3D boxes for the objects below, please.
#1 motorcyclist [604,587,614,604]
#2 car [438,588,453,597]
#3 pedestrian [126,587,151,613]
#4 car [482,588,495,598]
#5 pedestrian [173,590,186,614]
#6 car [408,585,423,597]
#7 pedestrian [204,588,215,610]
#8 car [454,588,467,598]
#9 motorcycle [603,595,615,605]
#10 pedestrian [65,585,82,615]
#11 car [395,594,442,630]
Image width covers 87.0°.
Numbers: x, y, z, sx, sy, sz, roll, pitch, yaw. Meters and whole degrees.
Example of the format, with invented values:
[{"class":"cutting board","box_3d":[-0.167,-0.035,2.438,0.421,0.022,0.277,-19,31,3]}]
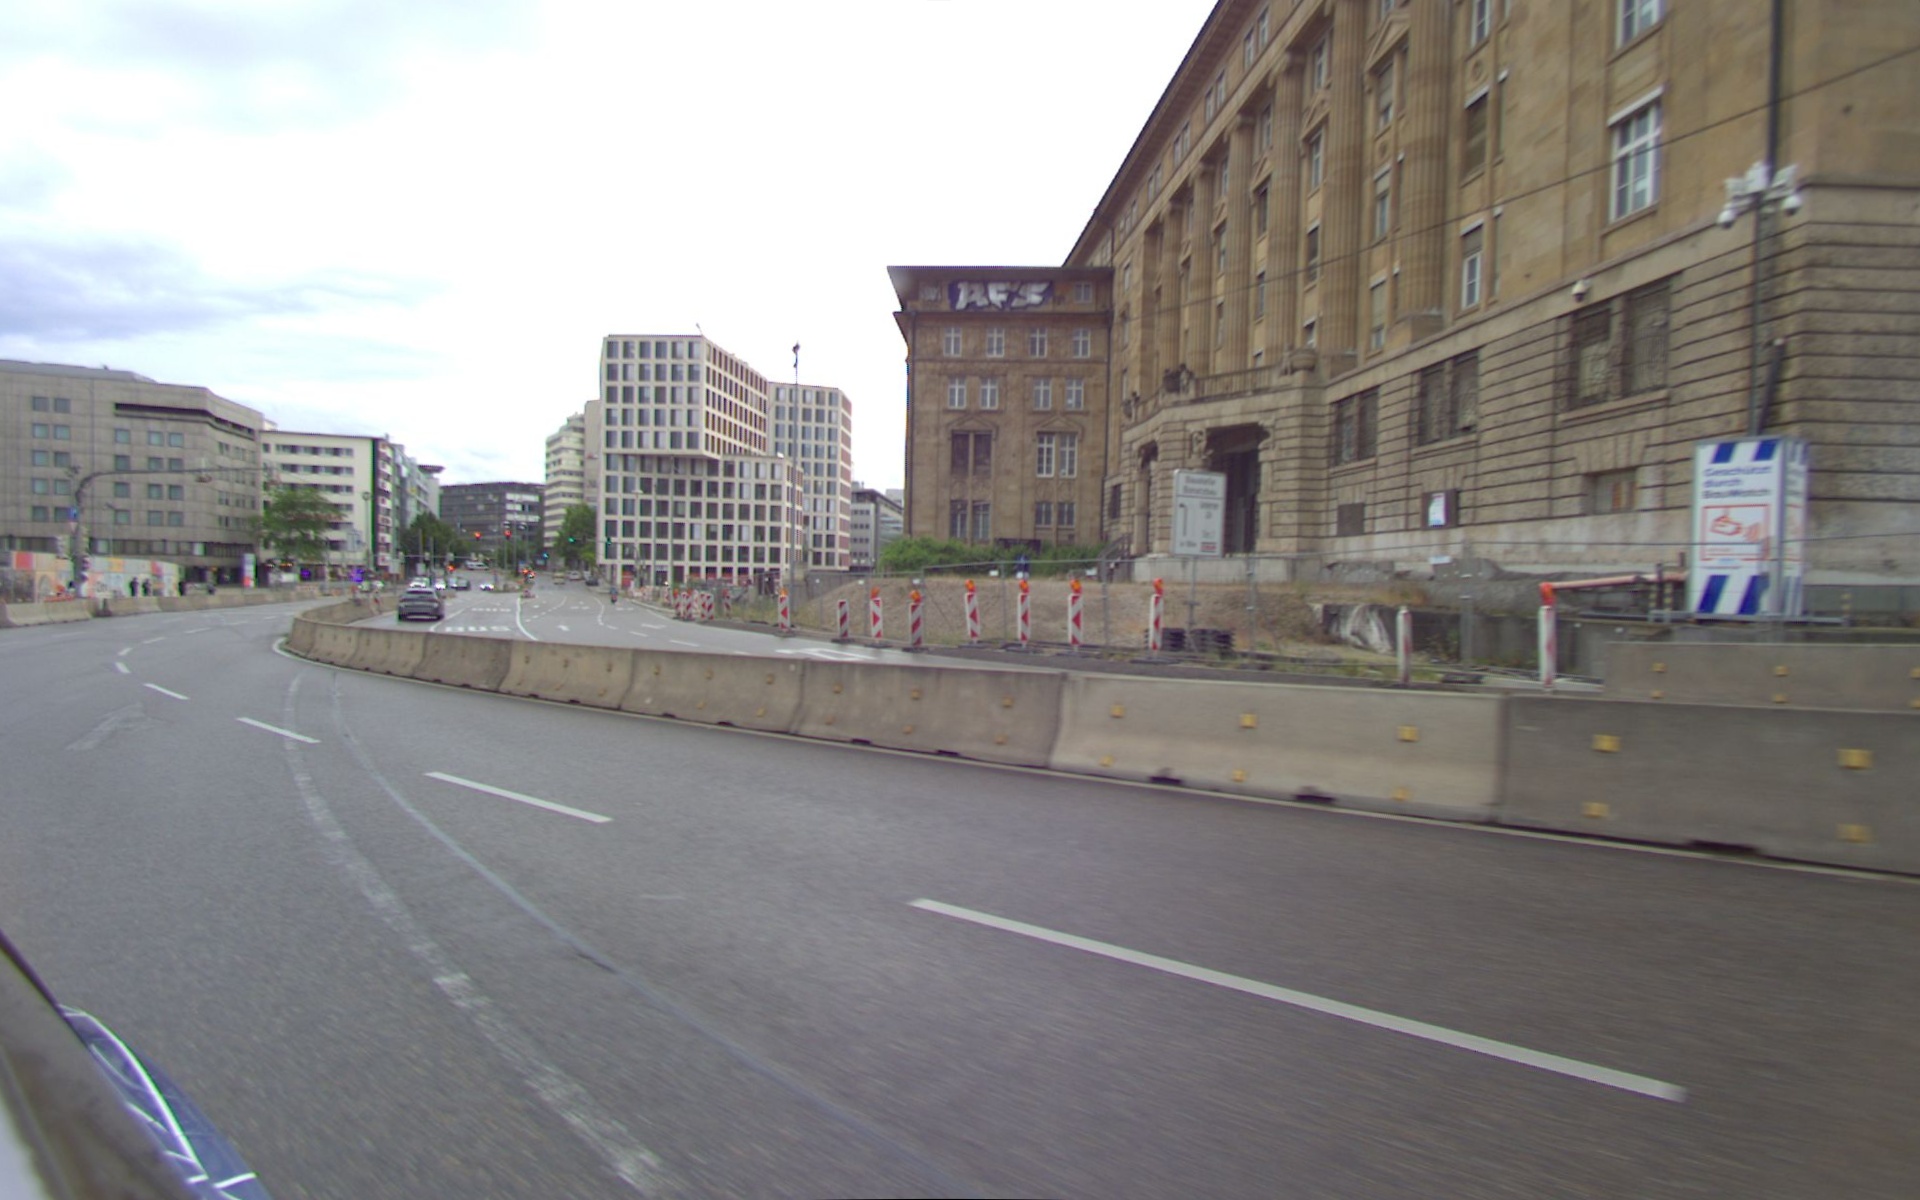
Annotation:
[{"class":"motorcyclist","box_3d":[-32.063,-0.425,92.508,0.692,1.498,0.966,0,1,-28]},{"class":"car","box_3d":[-79.067,-1.152,155.479,1.965,1.464,4.013,0,1,-27]},{"class":"pedestrian","box_3d":[-58.030,-0.023,71.474,1.081,1.774,0.909,2,-1,-22]},{"class":"car","box_3d":[-73.474,-1.116,157.680,1.762,1.464,3.684,0,1,-27]},{"class":"pedestrian","box_3d":[-58.213,0.172,75.475,0.745,1.774,0.767,2,-1,-38]},{"class":"car","box_3d":[-83.259,-1.357,154.678,1.965,1.838,4.013,0,1,-27]},{"class":"pedestrian","box_3d":[-60.944,-0.111,82.147,0.643,1.774,0.550,2,-1,-38]},{"class":"car","box_3d":[-76.727,-1.138,155.409,1.680,1.464,3.808,0,1,-27]},{"class":"motorcycle","box_3d":[-32.091,0.024,92.533,0.692,0.899,1.829,0,1,-28]},{"class":"pedestrian","box_3d":[-51.107,0.014,58.337,0.638,1.682,0.767,2,-1,-38]},{"class":"car","box_3d":[-24.541,0.504,45.799,1.742,1.532,4.401,0,1,-30]}]
